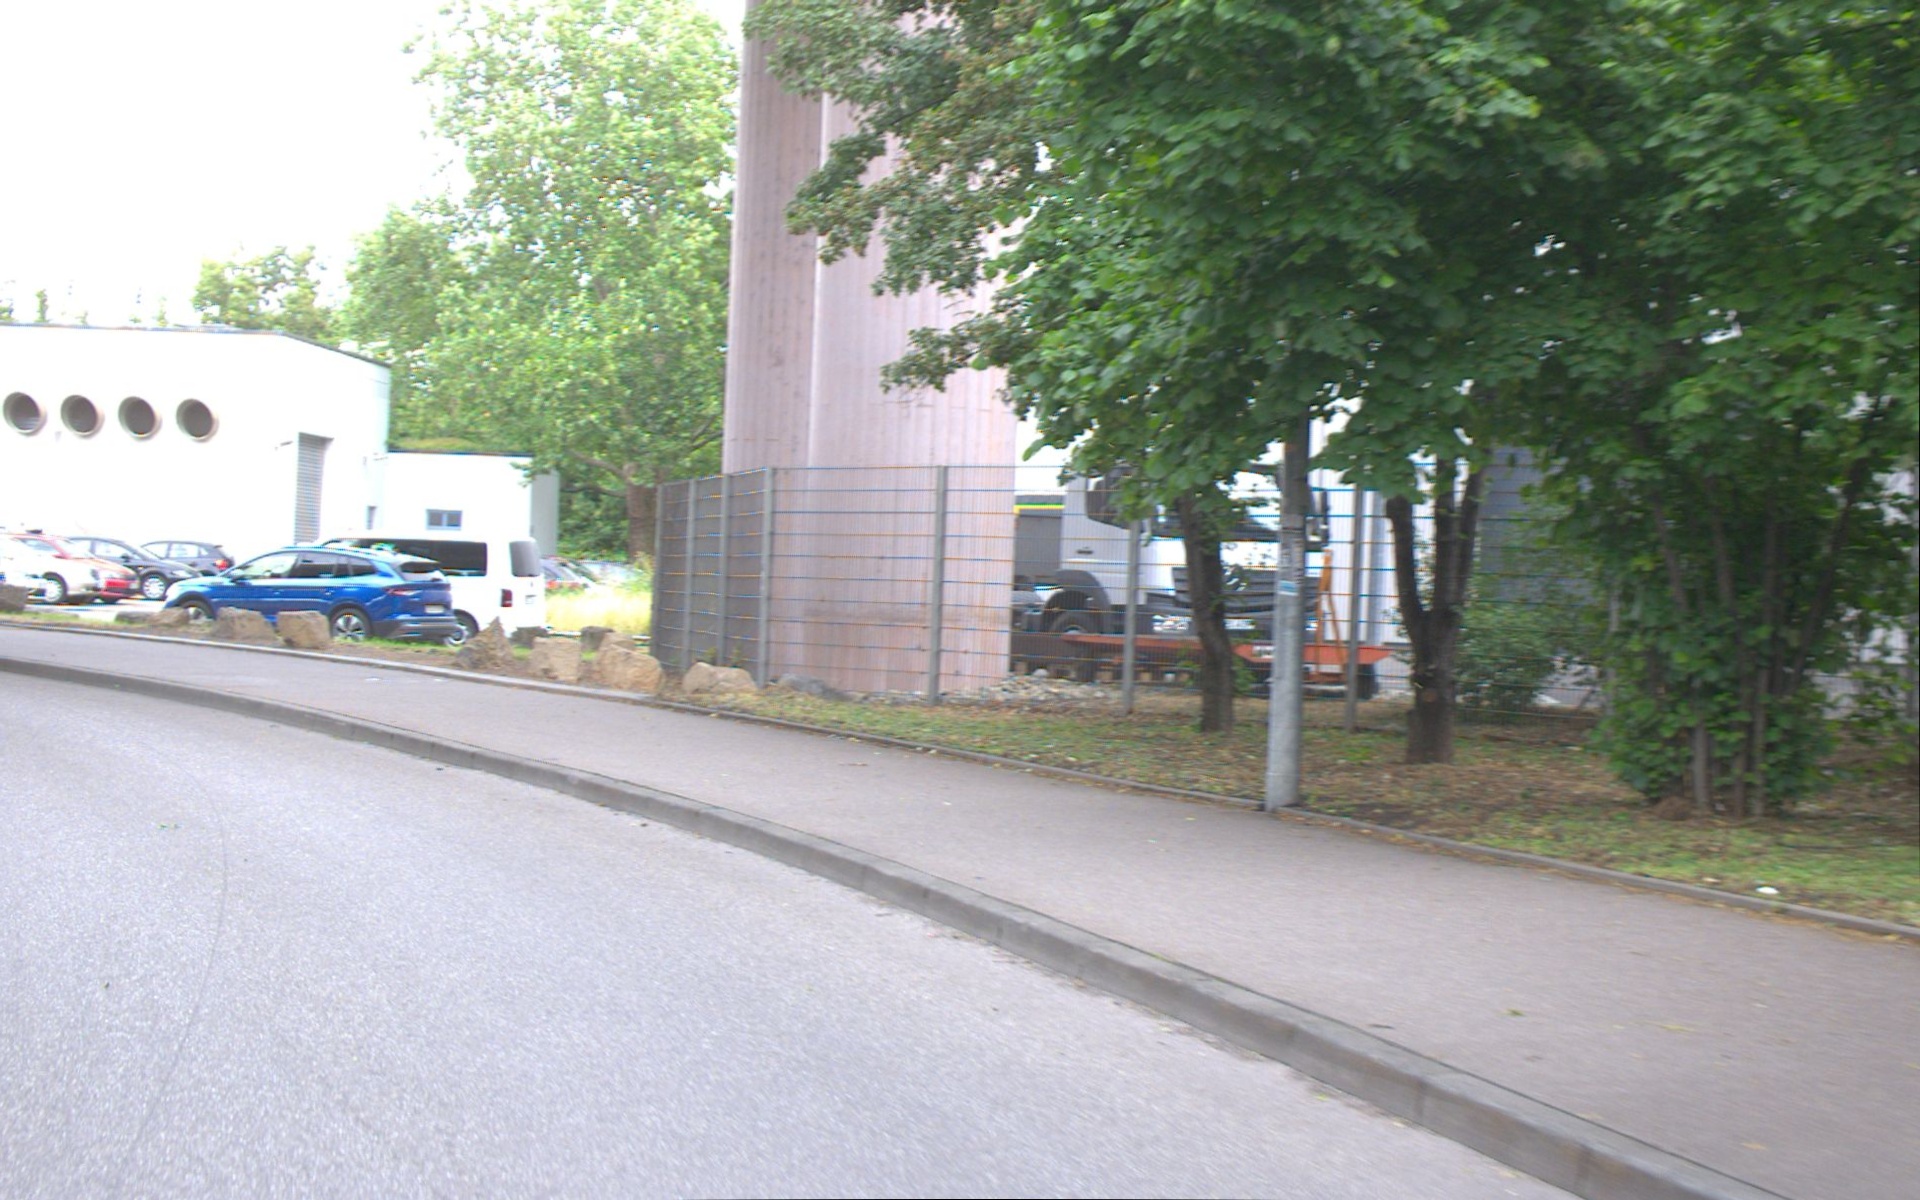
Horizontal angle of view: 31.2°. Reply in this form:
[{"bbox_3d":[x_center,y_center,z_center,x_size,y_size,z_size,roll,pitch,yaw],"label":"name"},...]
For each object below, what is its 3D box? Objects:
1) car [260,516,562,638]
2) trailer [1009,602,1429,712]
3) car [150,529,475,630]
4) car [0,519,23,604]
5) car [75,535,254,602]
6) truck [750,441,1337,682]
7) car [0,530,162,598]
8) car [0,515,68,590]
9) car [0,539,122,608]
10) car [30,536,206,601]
[{"bbox_3d":[-8.768,-0.364,55.013,4.317,1.851,1.998,1,-1,15],"label":"car"},{"bbox_3d":[2.230,0.476,31.895,2.148,0.741,6.296,-2,1,-12],"label":"trailer"},{"bbox_3d":[-9.814,-0.309,52.098,4.449,1.437,1.997,1,-1,23],"label":"car"},{"bbox_3d":[-20.516,-0.779,66.790,3.987,1.634,2.000,1,-1,4],"label":"car"},{"bbox_3d":[-19.982,-0.806,86.432,3.988,1.541,1.855,1,2,6],"label":"car"},{"bbox_3d":[0.806,-0.449,39.945,2.716,2.543,7.229,1,0,-39],"label":"truck"},{"bbox_3d":[-20.041,-0.800,76.504,3.988,1.437,1.999,1,-1,6],"label":"car"},{"bbox_3d":[-20.371,-0.979,69.648,3.988,1.437,1.999,1,-1,6],"label":"car"},{"bbox_3d":[-20.360,-0.577,74.105,3.988,1.402,1.999,1,-1,6],"label":"car"},{"bbox_3d":[-19.898,-0.734,81.313,3.701,1.437,1.634,1,-1,6],"label":"car"}]
